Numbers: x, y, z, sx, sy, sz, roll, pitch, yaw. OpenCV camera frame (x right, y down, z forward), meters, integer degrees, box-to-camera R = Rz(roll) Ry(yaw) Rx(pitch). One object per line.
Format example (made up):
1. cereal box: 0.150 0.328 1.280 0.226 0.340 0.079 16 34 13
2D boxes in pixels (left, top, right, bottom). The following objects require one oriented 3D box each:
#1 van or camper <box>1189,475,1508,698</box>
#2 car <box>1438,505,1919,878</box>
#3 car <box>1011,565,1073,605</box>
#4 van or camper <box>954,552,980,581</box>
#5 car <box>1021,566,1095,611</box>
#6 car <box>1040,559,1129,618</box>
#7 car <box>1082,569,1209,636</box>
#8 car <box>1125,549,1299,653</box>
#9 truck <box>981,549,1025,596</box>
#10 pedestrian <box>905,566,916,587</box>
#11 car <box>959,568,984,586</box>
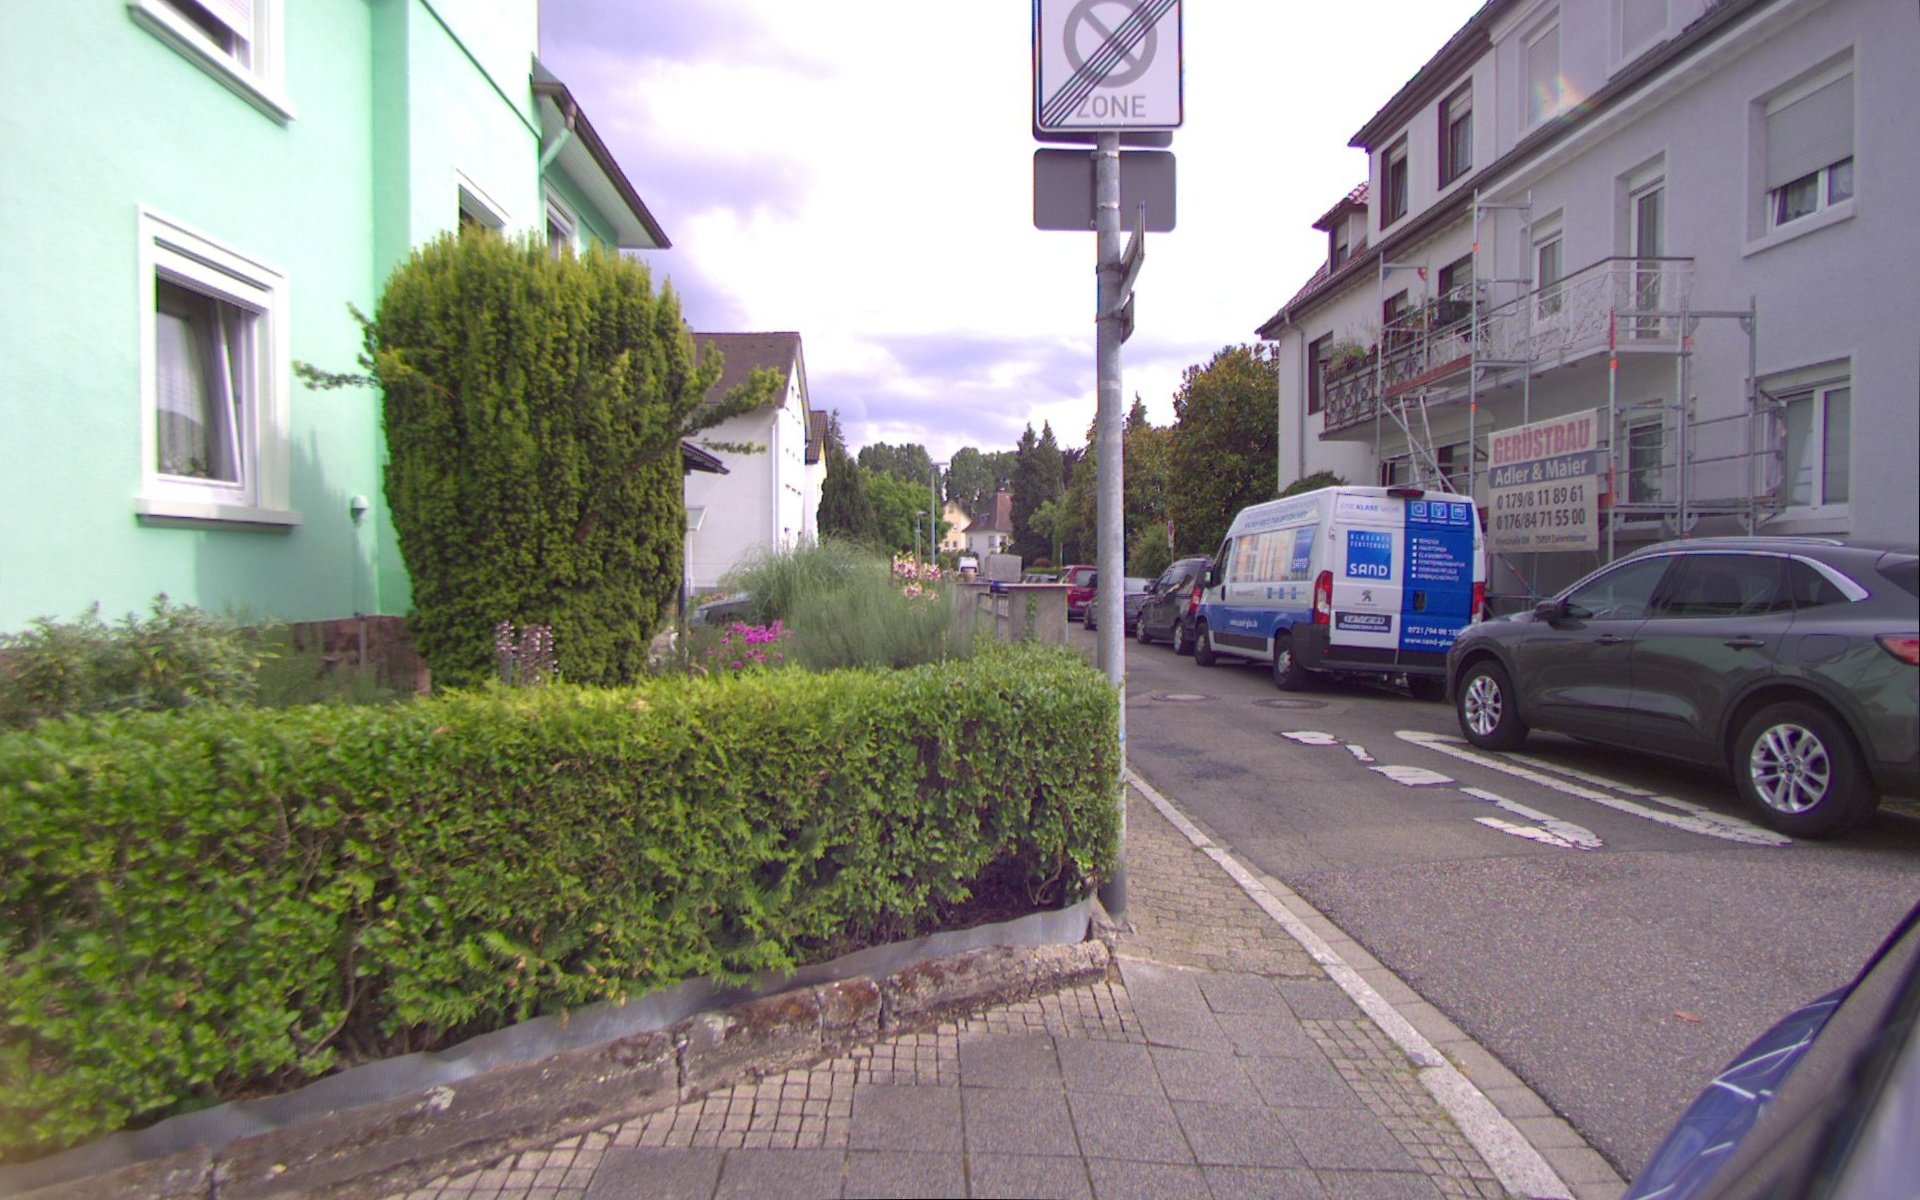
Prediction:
1. van or camper: 4.923 -0.242 13.862 2.156 2.489 5.059 0 2 -3
2. car: 5.301 0.361 6.625 1.960 1.748 4.348 0 2 -5
3. car: 3.474 -0.697 43.636 1.960 1.610 4.348 0 2 -5
4. van or camper: 0.612 -3.103 92.945 2.106 2.572 5.019 0 2 -3
5. car: 3.613 -0.483 37.993 1.960 1.610 4.348 0 2 -5
6. car: 3.933 -0.424 32.729 1.960 1.771 4.348 0 2 -5
7. car: 4.419 -0.013 24.833 1.960 1.473 4.348 0 2 -5
8. car: 4.746 -0.059 19.776 1.960 1.794 4.348 0 2 -5
9. truck: 2.517 -1.658 60.429 2.094 2.690 4.590 0 2 -5
10. pedestrian: -3.349 -1.582 68.032 0.650 1.340 0.755 0 1 -10
11. car: 0.869 -1.847 80.241 1.791 1.393 4.003 0 2 -1
